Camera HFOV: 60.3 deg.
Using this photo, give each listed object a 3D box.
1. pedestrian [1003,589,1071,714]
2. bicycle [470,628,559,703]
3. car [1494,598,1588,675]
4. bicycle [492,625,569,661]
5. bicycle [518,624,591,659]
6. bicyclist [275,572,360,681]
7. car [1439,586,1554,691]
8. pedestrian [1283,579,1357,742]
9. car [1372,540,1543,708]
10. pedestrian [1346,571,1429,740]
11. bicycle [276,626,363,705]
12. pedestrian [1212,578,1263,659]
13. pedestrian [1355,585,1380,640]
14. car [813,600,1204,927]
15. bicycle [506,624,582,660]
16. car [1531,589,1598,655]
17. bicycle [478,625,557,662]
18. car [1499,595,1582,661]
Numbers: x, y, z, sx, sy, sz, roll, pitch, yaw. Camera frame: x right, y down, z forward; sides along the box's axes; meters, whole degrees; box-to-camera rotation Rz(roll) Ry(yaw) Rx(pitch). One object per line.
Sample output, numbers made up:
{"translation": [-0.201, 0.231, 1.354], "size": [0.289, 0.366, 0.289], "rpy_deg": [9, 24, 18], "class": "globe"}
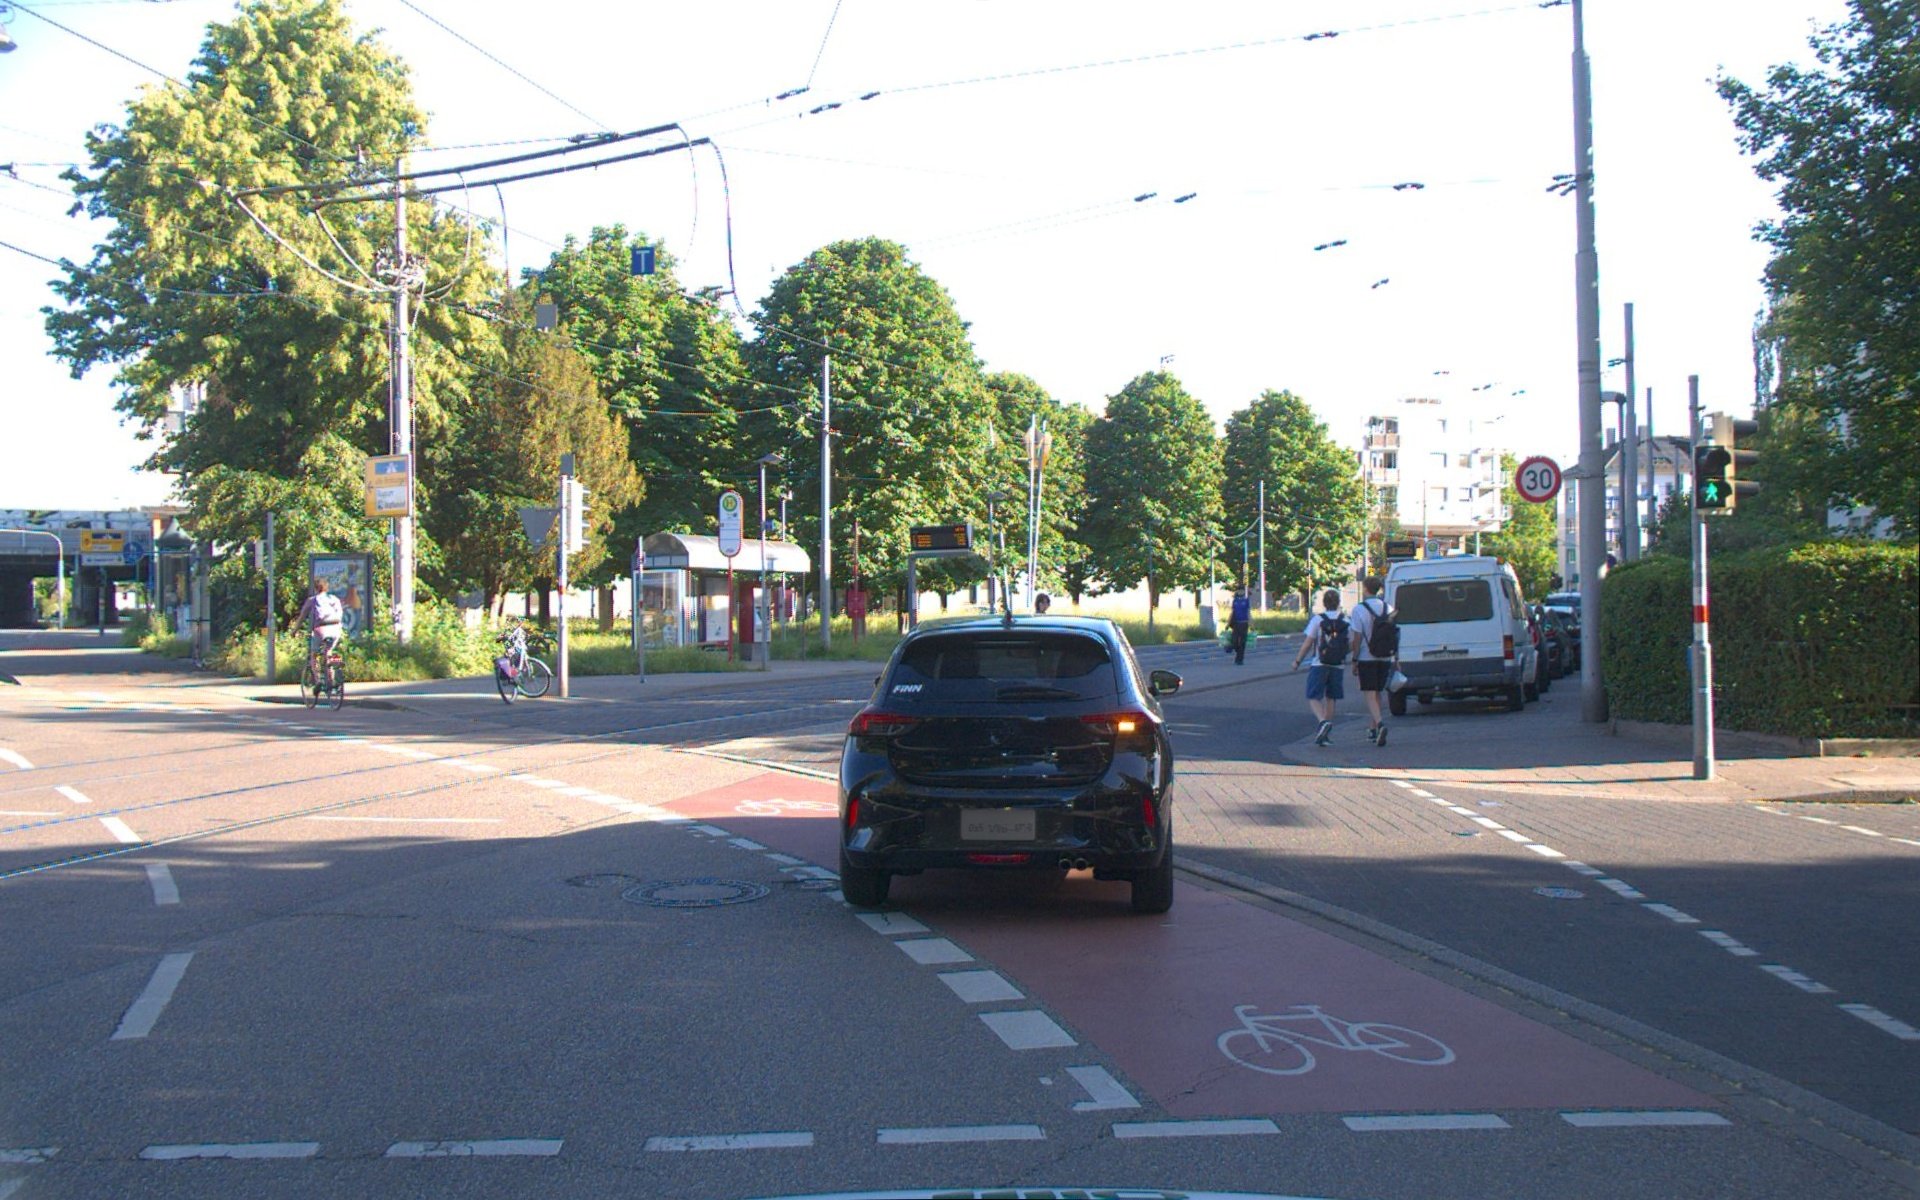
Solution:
{"translation": [1.088, 0.705, 23.196], "size": [0.712, 1.722, 0.700], "rpy_deg": [-1, 0, 28], "class": "pedestrian"}
{"translation": [-6.789, 0.980, 25.321], "size": [0.808, 1.078, 1.883], "rpy_deg": [0, 0, 1], "class": "bicycle"}
{"translation": [12.294, 0.727, 34.938], "size": [1.763, 1.502, 3.940], "rpy_deg": [-1, 0, 20], "class": "car"}
{"translation": [-11.263, 1.114, 43.412], "size": [1.837, 0.922, 0.660], "rpy_deg": [0, 0, 6], "class": "bicycle"}
{"translation": [-11.087, 1.129, 45.258], "size": [1.837, 0.922, 0.660], "rpy_deg": [0, 0, 6], "class": "bicycle"}
{"translation": [-9.405, 0.372, 24.181], "size": [0.834, 1.536, 1.351], "rpy_deg": [0, 0, -37], "class": "bicyclist"}
{"translation": [9.876, 0.656, 30.285], "size": [1.763, 1.794, 3.891], "rpy_deg": [-1, 0, 21], "class": "car"}
{"translation": [4.083, 0.674, 18.810], "size": [0.684, 1.823, 0.617], "rpy_deg": [0, 0, -2], "class": "pedestrian"}
{"translation": [7.654, 0.367, 25.184], "size": [2.047, 2.317, 4.304], "rpy_deg": [0, -1, 23], "class": "car"}
{"translation": [4.900, 0.621, 18.953], "size": [0.691, 1.879, 0.697], "rpy_deg": [-1, 0, 38], "class": "pedestrian"}
{"translation": [-9.346, 0.928, 24.085], "size": [0.662, 1.078, 2.054], "rpy_deg": [0, 0, -37], "class": "bicycle"}
{"translation": [6.415, 0.422, 38.260], "size": [0.939, 1.824, 0.995], "rpy_deg": [-1, -1, 24], "class": "pedestrian"}
{"translation": [13.678, 0.427, 55.510], "size": [0.665, 1.824, 0.995], "rpy_deg": [-1, -1, 24], "class": "pedestrian"}
{"translation": [0.399, 0.739, 9.459], "size": [1.762, 1.466, 3.942], "rpy_deg": [0, 0, 5], "class": "car"}
{"translation": [-11.135, 1.123, 44.285], "size": [1.837, 0.922, 0.660], "rpy_deg": [0, 0, 6], "class": "bicycle"}
{"translation": [18.785, 0.649, 51.336], "size": [1.764, 1.961, 3.939], "rpy_deg": [-1, 0, 23], "class": "car"}
{"translation": [-11.336, 1.118, 42.425], "size": [1.837, 0.922, 0.660], "rpy_deg": [0, 0, 6], "class": "bicycle"}
{"translation": [13.942, 0.634, 39.636], "size": [1.763, 1.502, 3.940], "rpy_deg": [-1, 0, 20], "class": "car"}
